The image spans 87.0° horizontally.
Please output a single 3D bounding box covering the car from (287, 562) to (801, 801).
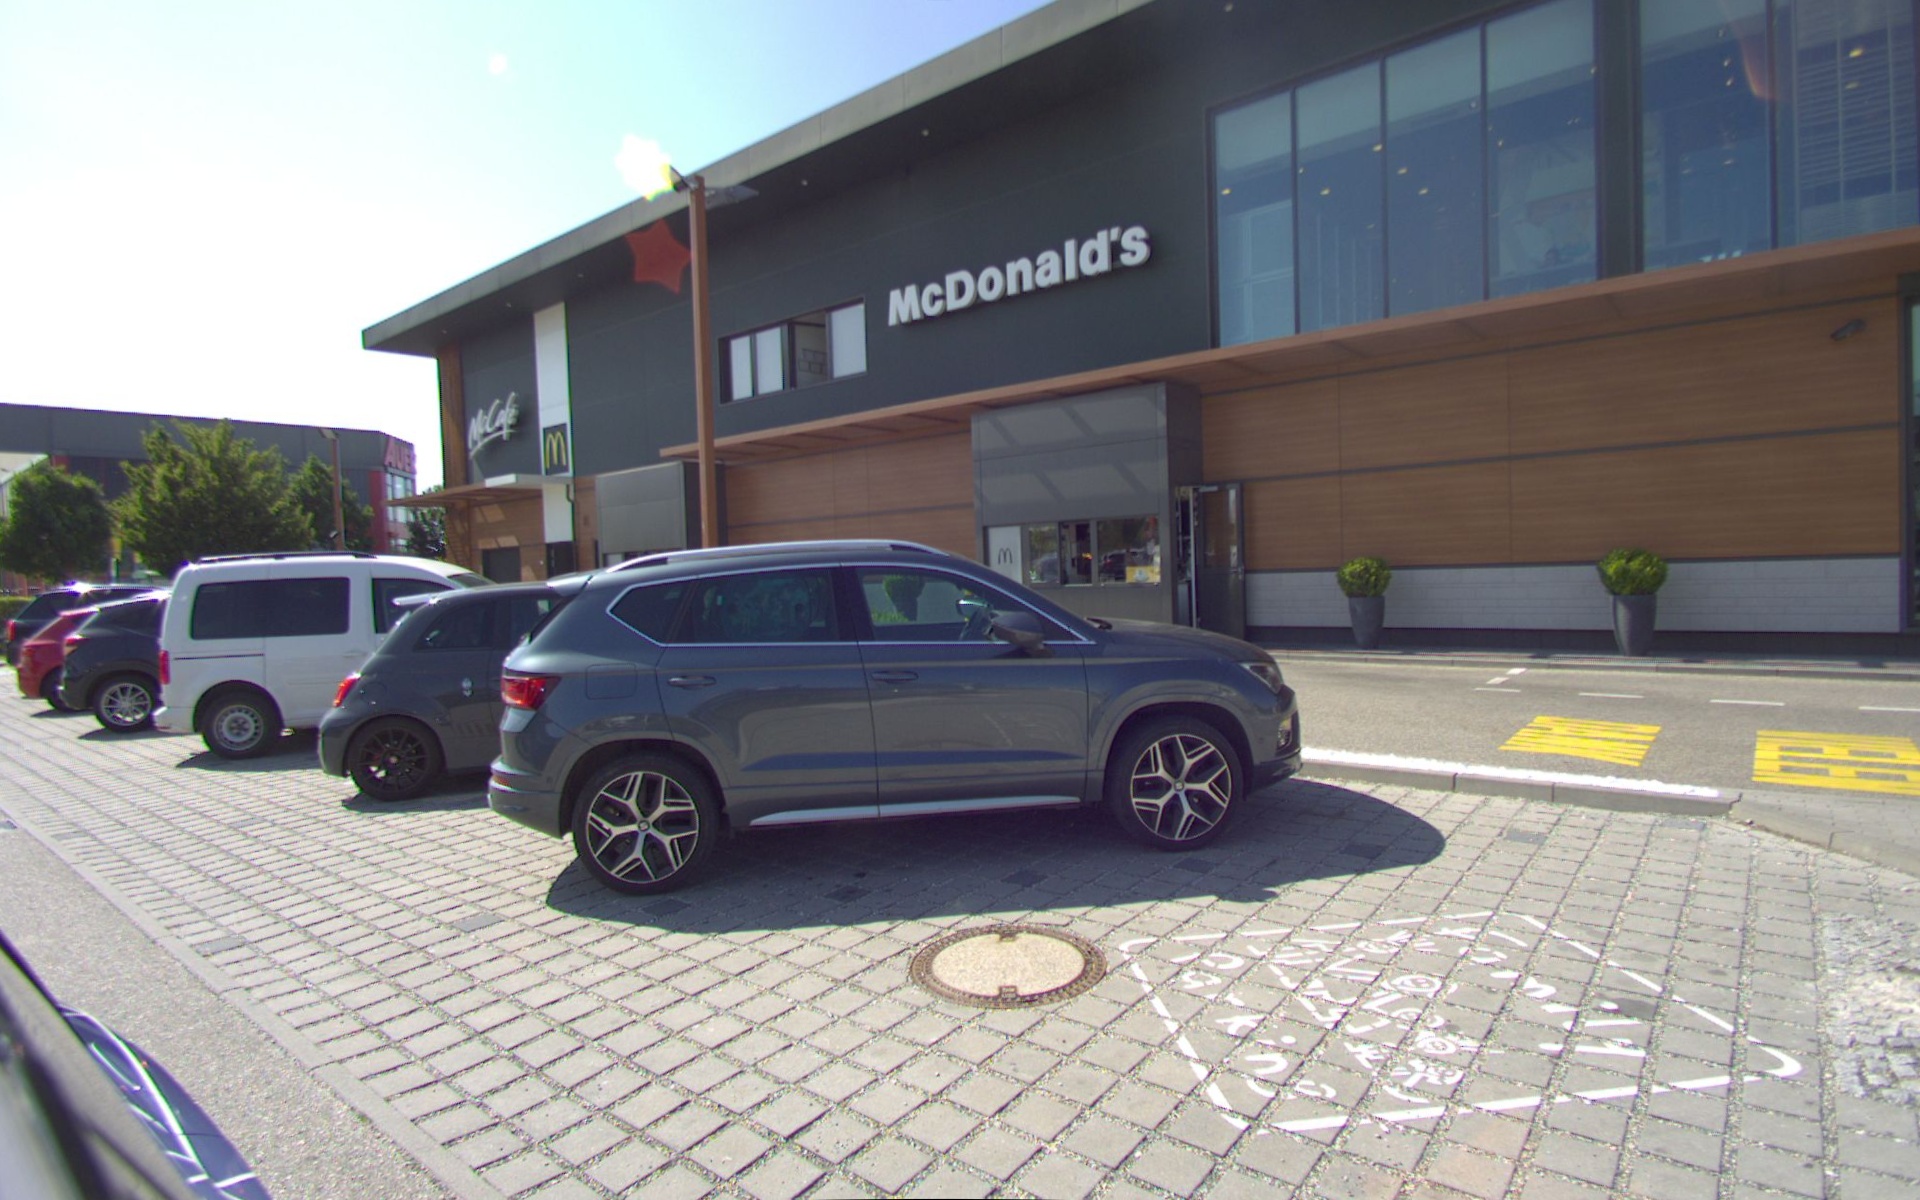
[{"bbox_3d":[-3.035,0.525,7.940,3.358,1.493,1.572,-3,1,-13],"label":"car"}]

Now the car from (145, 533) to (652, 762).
[{"bbox_3d":[-5.345,0.385,10.205,4.077,1.936,1.762,-2,1,-11],"label":"car"}]

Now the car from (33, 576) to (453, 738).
[{"bbox_3d":[-8.484,0.596,12.386,3.779,1.644,1.763,-2,1,-17],"label":"car"}]

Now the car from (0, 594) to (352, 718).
[{"bbox_3d":[-11.216,0.731,14.805,3.707,1.454,1.680,-3,1,-22],"label":"car"}]

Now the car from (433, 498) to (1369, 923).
[{"bbox_3d":[-0.259,0.424,5.497,4.163,1.614,1.794,-4,3,-5],"label":"car"}]

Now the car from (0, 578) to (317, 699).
[{"bbox_3d":[-13.319,0.576,16.882,3.973,1.718,1.679,-3,2,-12],"label":"car"}]
